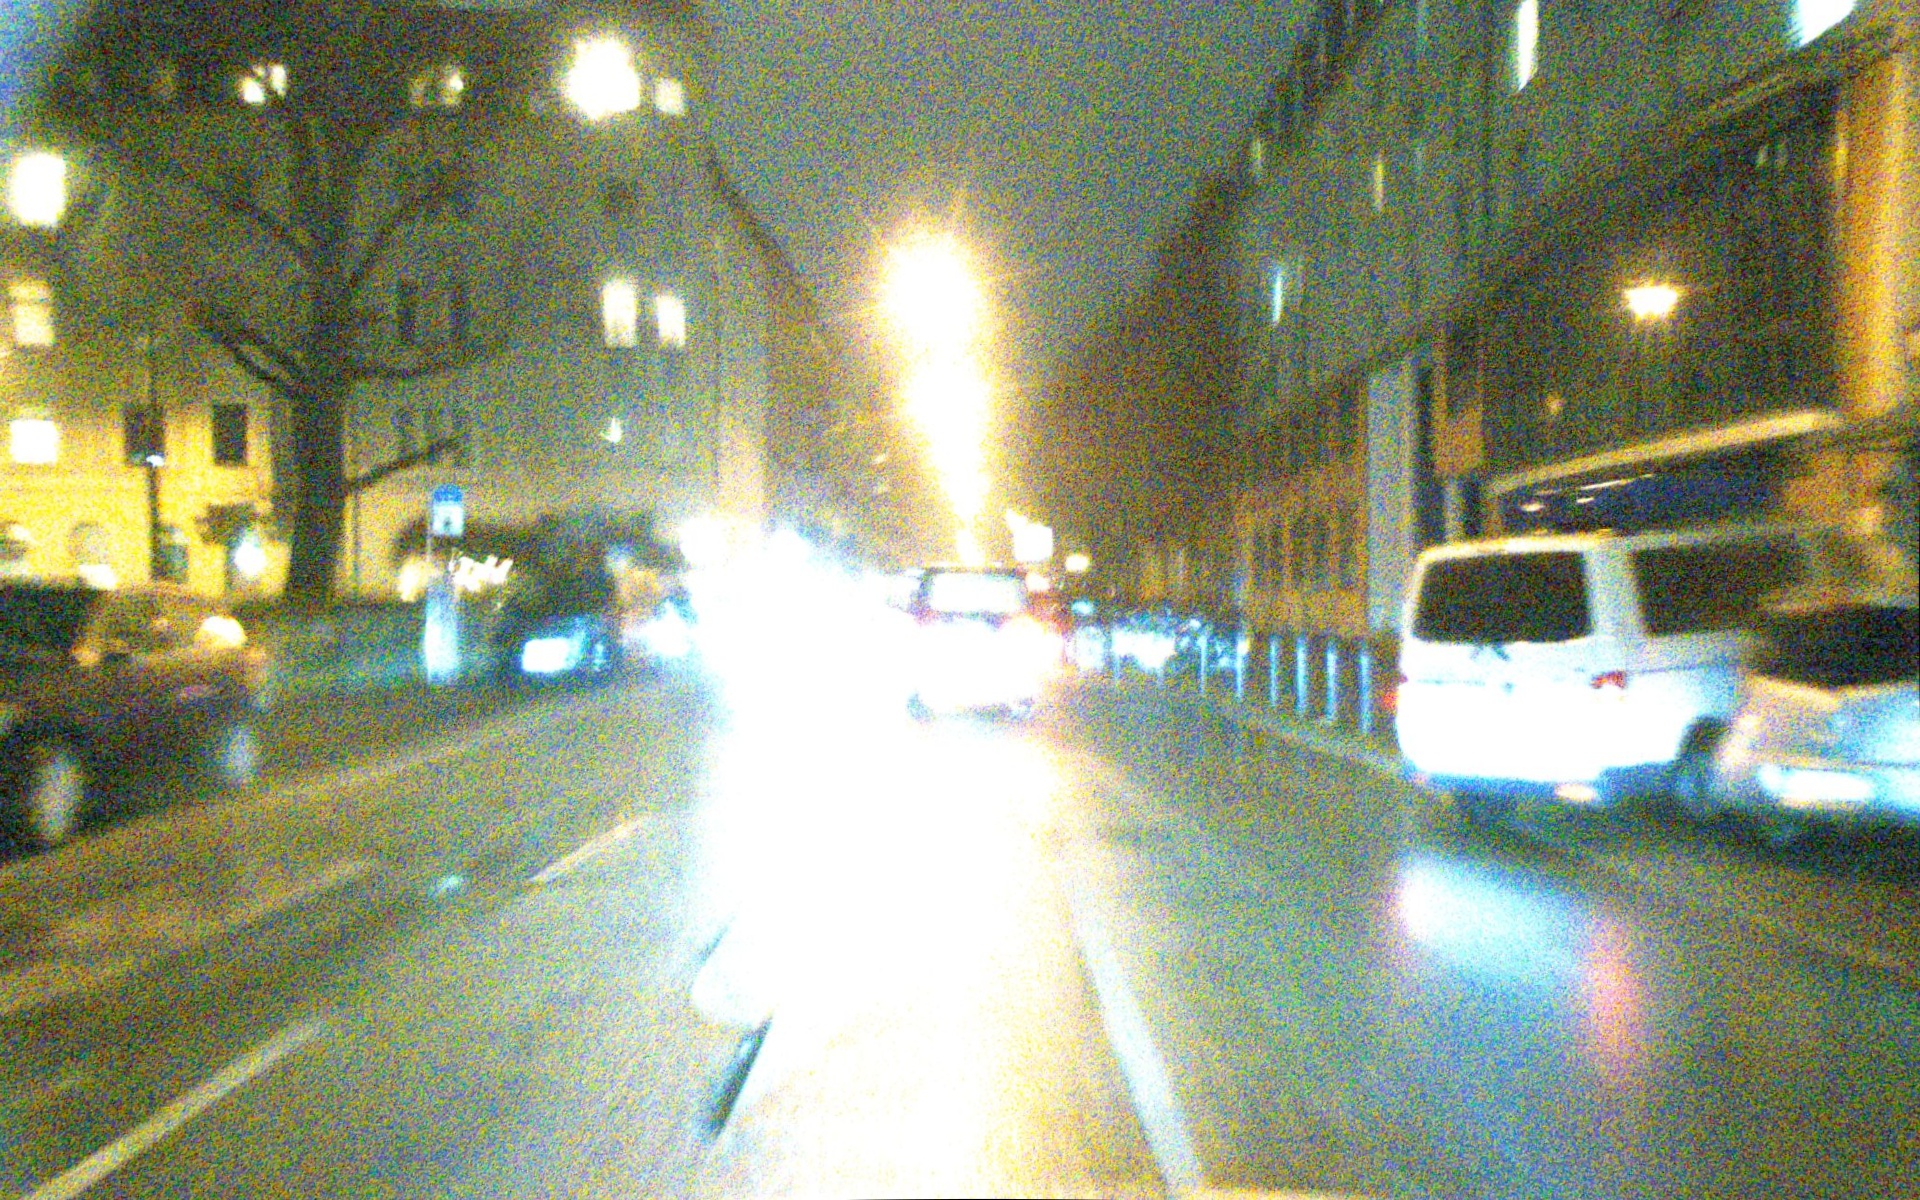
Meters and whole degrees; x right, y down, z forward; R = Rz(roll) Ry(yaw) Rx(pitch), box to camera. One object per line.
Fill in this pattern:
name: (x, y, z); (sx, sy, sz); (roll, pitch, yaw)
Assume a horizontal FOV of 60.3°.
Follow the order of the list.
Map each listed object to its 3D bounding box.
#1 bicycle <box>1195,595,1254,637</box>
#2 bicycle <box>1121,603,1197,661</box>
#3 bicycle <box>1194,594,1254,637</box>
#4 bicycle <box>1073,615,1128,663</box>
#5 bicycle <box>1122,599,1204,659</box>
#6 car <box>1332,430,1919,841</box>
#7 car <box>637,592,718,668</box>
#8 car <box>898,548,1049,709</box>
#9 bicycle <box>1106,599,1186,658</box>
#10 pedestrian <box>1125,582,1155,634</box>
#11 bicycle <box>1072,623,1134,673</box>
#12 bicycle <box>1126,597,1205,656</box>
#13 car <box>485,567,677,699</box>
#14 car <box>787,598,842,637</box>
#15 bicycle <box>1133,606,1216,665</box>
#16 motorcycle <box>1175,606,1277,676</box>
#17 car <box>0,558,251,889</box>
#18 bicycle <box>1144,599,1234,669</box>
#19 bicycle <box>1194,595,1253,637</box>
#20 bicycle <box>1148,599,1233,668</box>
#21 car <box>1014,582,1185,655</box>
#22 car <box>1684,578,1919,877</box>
bicycle: (7.893, 0.467, 49.333); (1.653, 1.166, 0.428); (-3, 0, -8)
bicycle: (4.248, 0.682, 35.248); (1.561, 1.178, 0.540); (-1, 0, 8)
bicycle: (7.785, 0.449, 48.758); (1.653, 1.166, 0.428); (-3, 0, -8)
bicycle: (2.930, 0.809, 34.549); (1.109, 0.991, 0.249); (0, 0, -2)
bicycle: (4.119, 0.584, 33.603); (1.564, 1.178, 0.417); (-2, 0, -3)
car: (5.194, 0.185, 11.889); (4.883, 2.382, 2.205); (-1, 0, -34)
car: (-6.073, 0.608, 35.313); (1.519, 1.468, 3.552); (2, 0, -12)
car: (0.201, 0.395, 23.613); (1.952, 2.086, 4.000); (1, -1, 1)
bicycle: (3.819, 0.583, 34.029); (1.564, 1.178, 0.417); (-2, 0, -3)
pedestrian: (6.752, 0.291, 62.005); (0.822, 1.867, 0.946); (-5, -1, -3)
bicycle: (2.799, 0.938, 32.371); (1.187, 0.964, 0.302); (1, 0, -4)
bicycle: (4.285, 0.556, 34.547); (1.564, 1.178, 0.417); (-2, 0, -3)
car: (-5.842, 0.471, 26.102); (1.828, 1.878, 4.827); (0, 0, 1)
car: (-5.354, 0.642, 61.340); (1.620, 1.383, 4.222); (0, 0, 0)
bicycle: (4.262, 0.702, 32.876); (1.564, 1.131, 0.417); (-2, 0, -3)
motorcycle: (4.668, 0.709, 29.065); (1.601, 1.143, 0.652); (-3, 0, -7)
car: (-6.069, 0.622, 10.435); (1.778, 1.699, 4.404); (0, 0, -7)
bicycle: (4.309, 0.639, 31.145); (1.629, 1.255, 0.385); (-1, 0, 2)
bicycle: (7.951, 0.470, 49.867); (1.653, 1.166, 0.485); (-3, 0, -8)
bicycle: (4.412, 0.637, 31.663); (1.546, 1.255, 0.418); (-1, 0, 2)
car: (3.284, 0.433, 38.964); (3.653, 1.549, 1.644); (-2, 0, -25)
car: (6.006, 0.608, 9.592); (3.408, 1.494, 1.613); (-2, 0, -31)
